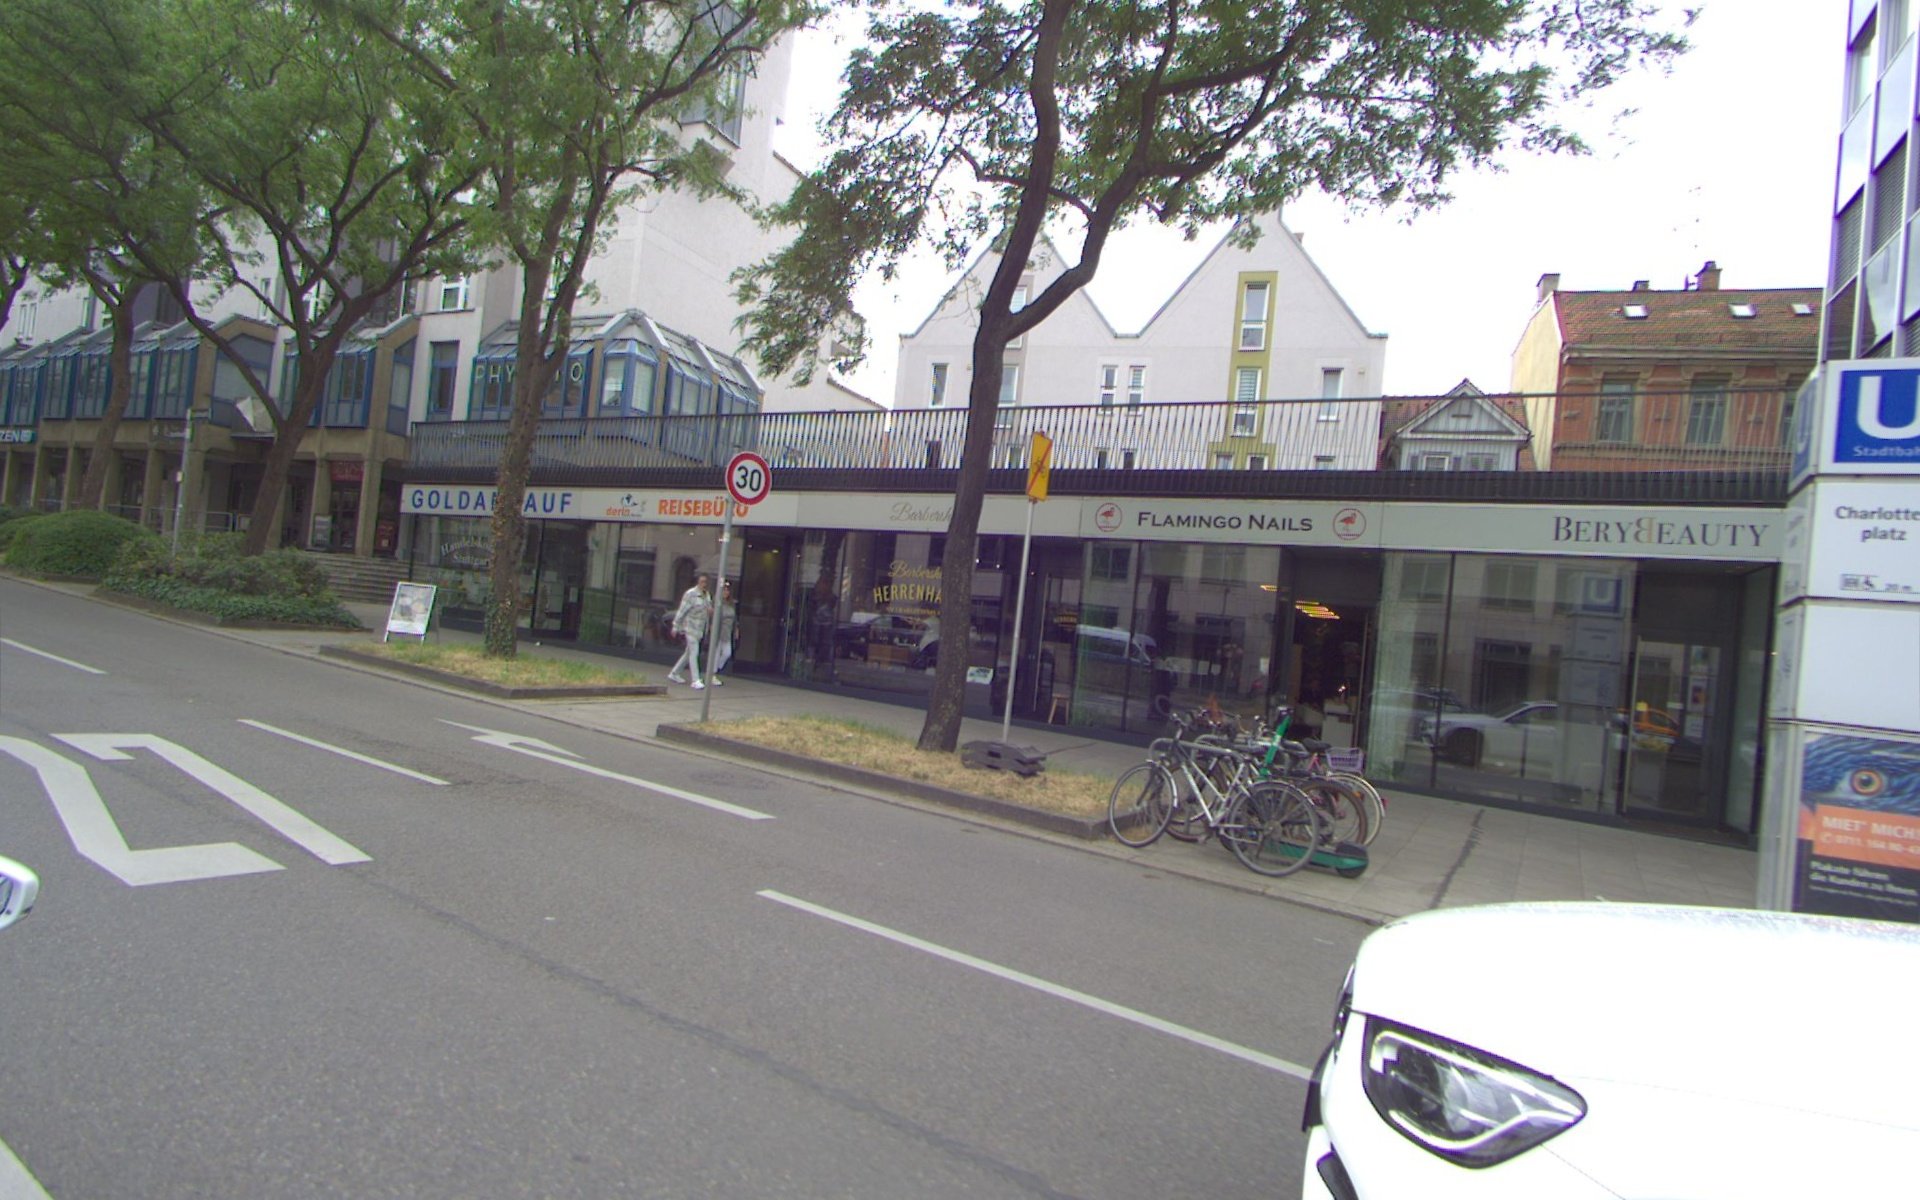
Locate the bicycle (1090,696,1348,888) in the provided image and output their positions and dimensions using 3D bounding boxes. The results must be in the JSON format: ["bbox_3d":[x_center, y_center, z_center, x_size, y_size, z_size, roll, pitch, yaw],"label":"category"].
[{"bbox_3d":[2.029,1.465,8.013,1.813,1.146,0.490,6,0,31],"label":"bicycle"}]

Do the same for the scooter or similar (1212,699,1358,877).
[{"bbox_3d":[2.653,1.515,8.243,0.978,1.266,0.307,7,0,19],"label":"scooter or similar"}]

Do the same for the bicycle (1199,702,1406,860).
[{"bbox_3d":[3.202,1.650,9.473,1.661,1.146,0.490,6,0,33],"label":"bicycle"}]

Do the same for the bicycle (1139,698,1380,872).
[{"bbox_3d":[2.599,1.562,8.803,1.853,1.146,0.491,7,0,26],"label":"bicycle"}]

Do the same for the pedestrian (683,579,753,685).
[{"bbox_3d":[-3.993,0.534,16.621,0.744,1.649,0.597,7,1,26],"label":"pedestrian"}]

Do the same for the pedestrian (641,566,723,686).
[{"bbox_3d":[-4.430,0.415,16.024,0.924,1.776,0.597,7,1,26],"label":"pedestrian"}]

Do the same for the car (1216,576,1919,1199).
[{"bbox_3d":[2.734,1.046,1.416,4.261,1.667,1.804,6,0,31],"label":"car"}]
